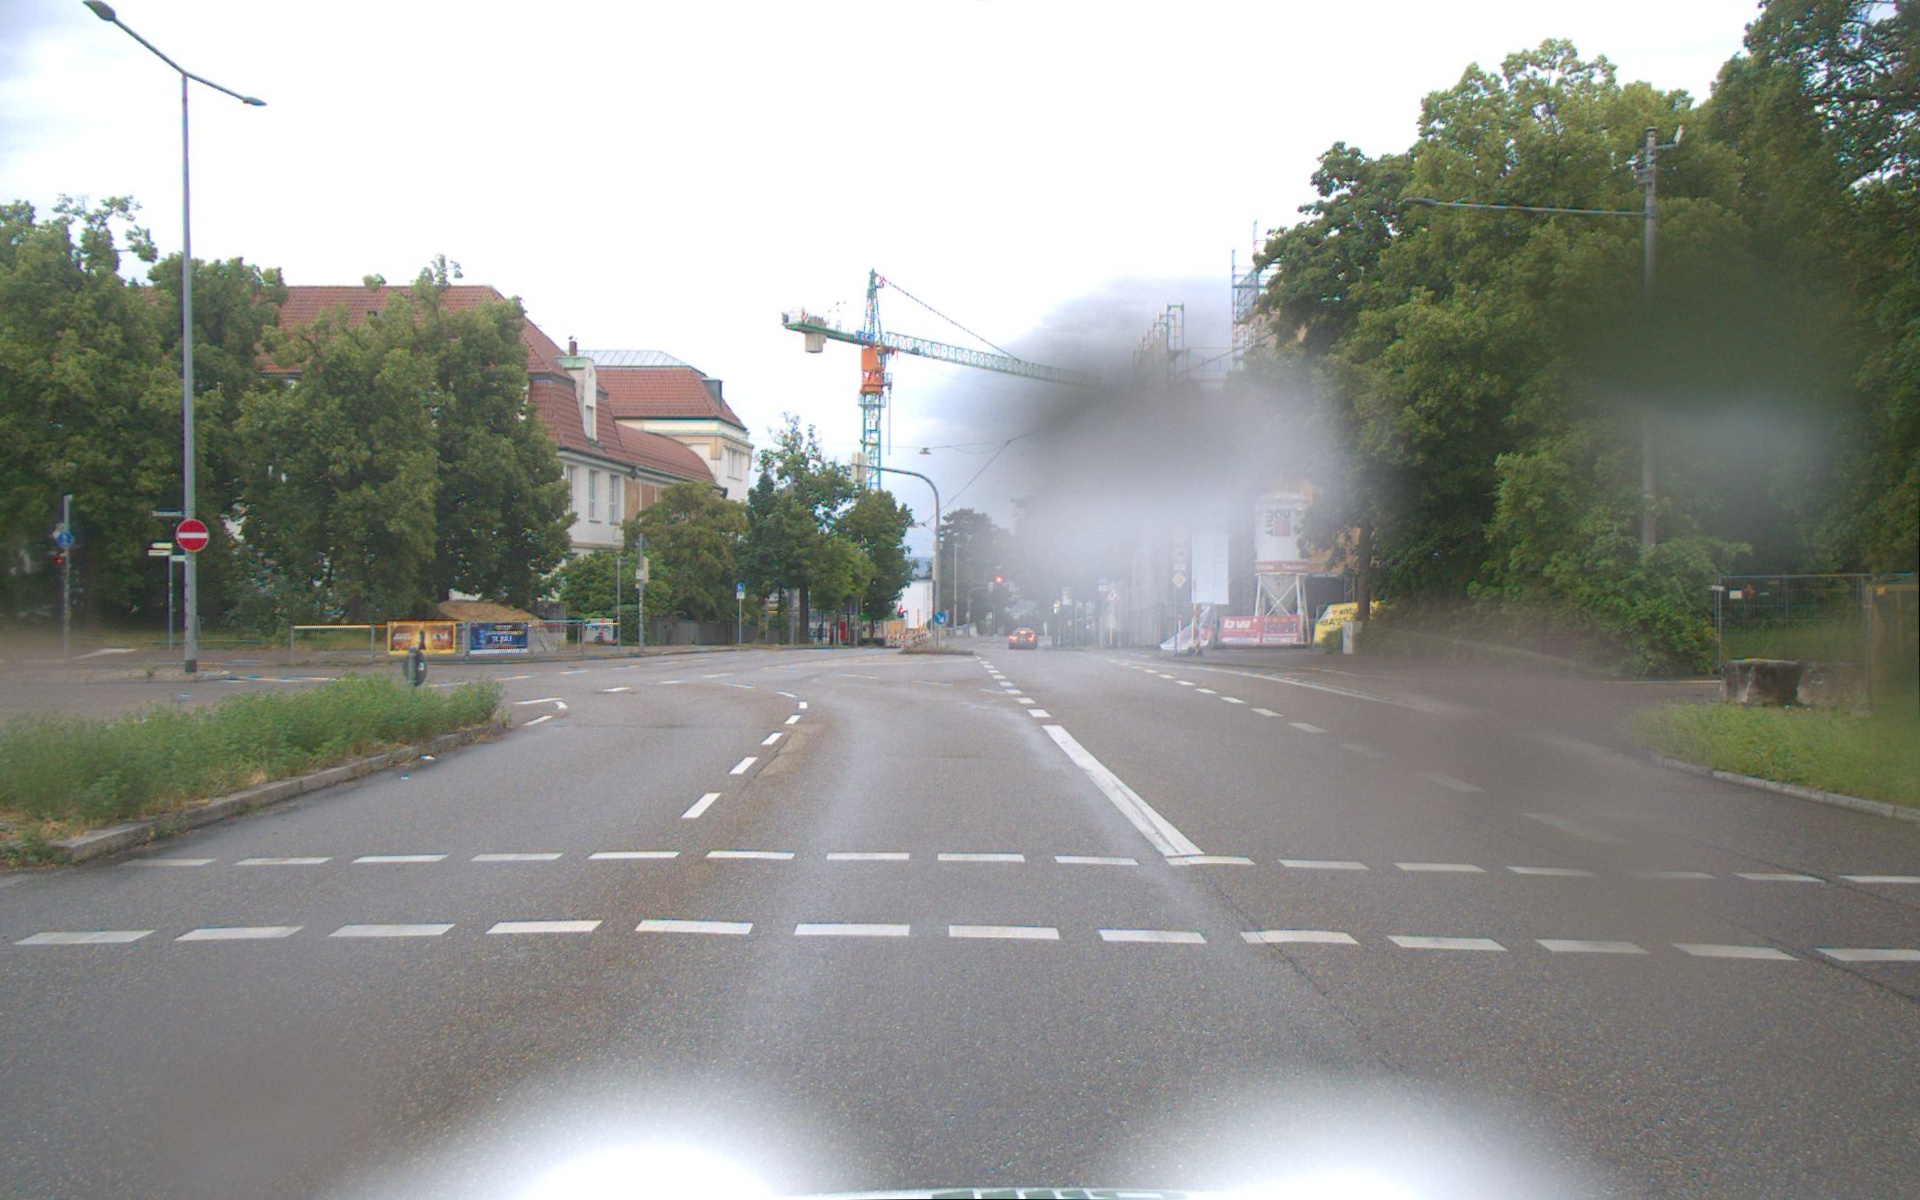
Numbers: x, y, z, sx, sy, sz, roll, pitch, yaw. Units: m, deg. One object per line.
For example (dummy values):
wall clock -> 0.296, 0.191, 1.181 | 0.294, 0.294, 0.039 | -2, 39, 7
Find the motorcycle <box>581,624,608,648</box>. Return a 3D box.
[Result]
motorcycle -> -14.276, 1.406, 64.594 | 0.832, 0.893, 0.877 | 1, 0, -1

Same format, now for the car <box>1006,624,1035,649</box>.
car -> 4.580, 2.765, 125.102 | 1.953, 1.780, 3.999 | -1, 0, -1

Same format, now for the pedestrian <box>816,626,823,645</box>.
pedestrian -> -10.609, 2.704, 124.984 | 0.465, 1.421, 0.411 | -1, 0, -1

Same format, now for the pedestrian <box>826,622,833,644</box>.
pedestrian -> -9.893, 2.517, 125.103 | 0.484, 1.674, 0.533 | 1, -1, -7

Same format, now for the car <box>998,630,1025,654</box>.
car -> 4.057, 3.326, 131.048 | 1.953, 1.780, 3.999 | -1, 0, -1

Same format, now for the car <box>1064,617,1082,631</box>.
car -> 15.031, 3.125, 219.493 | 1.951, 1.780, 4.003 | -1, 0, 10
